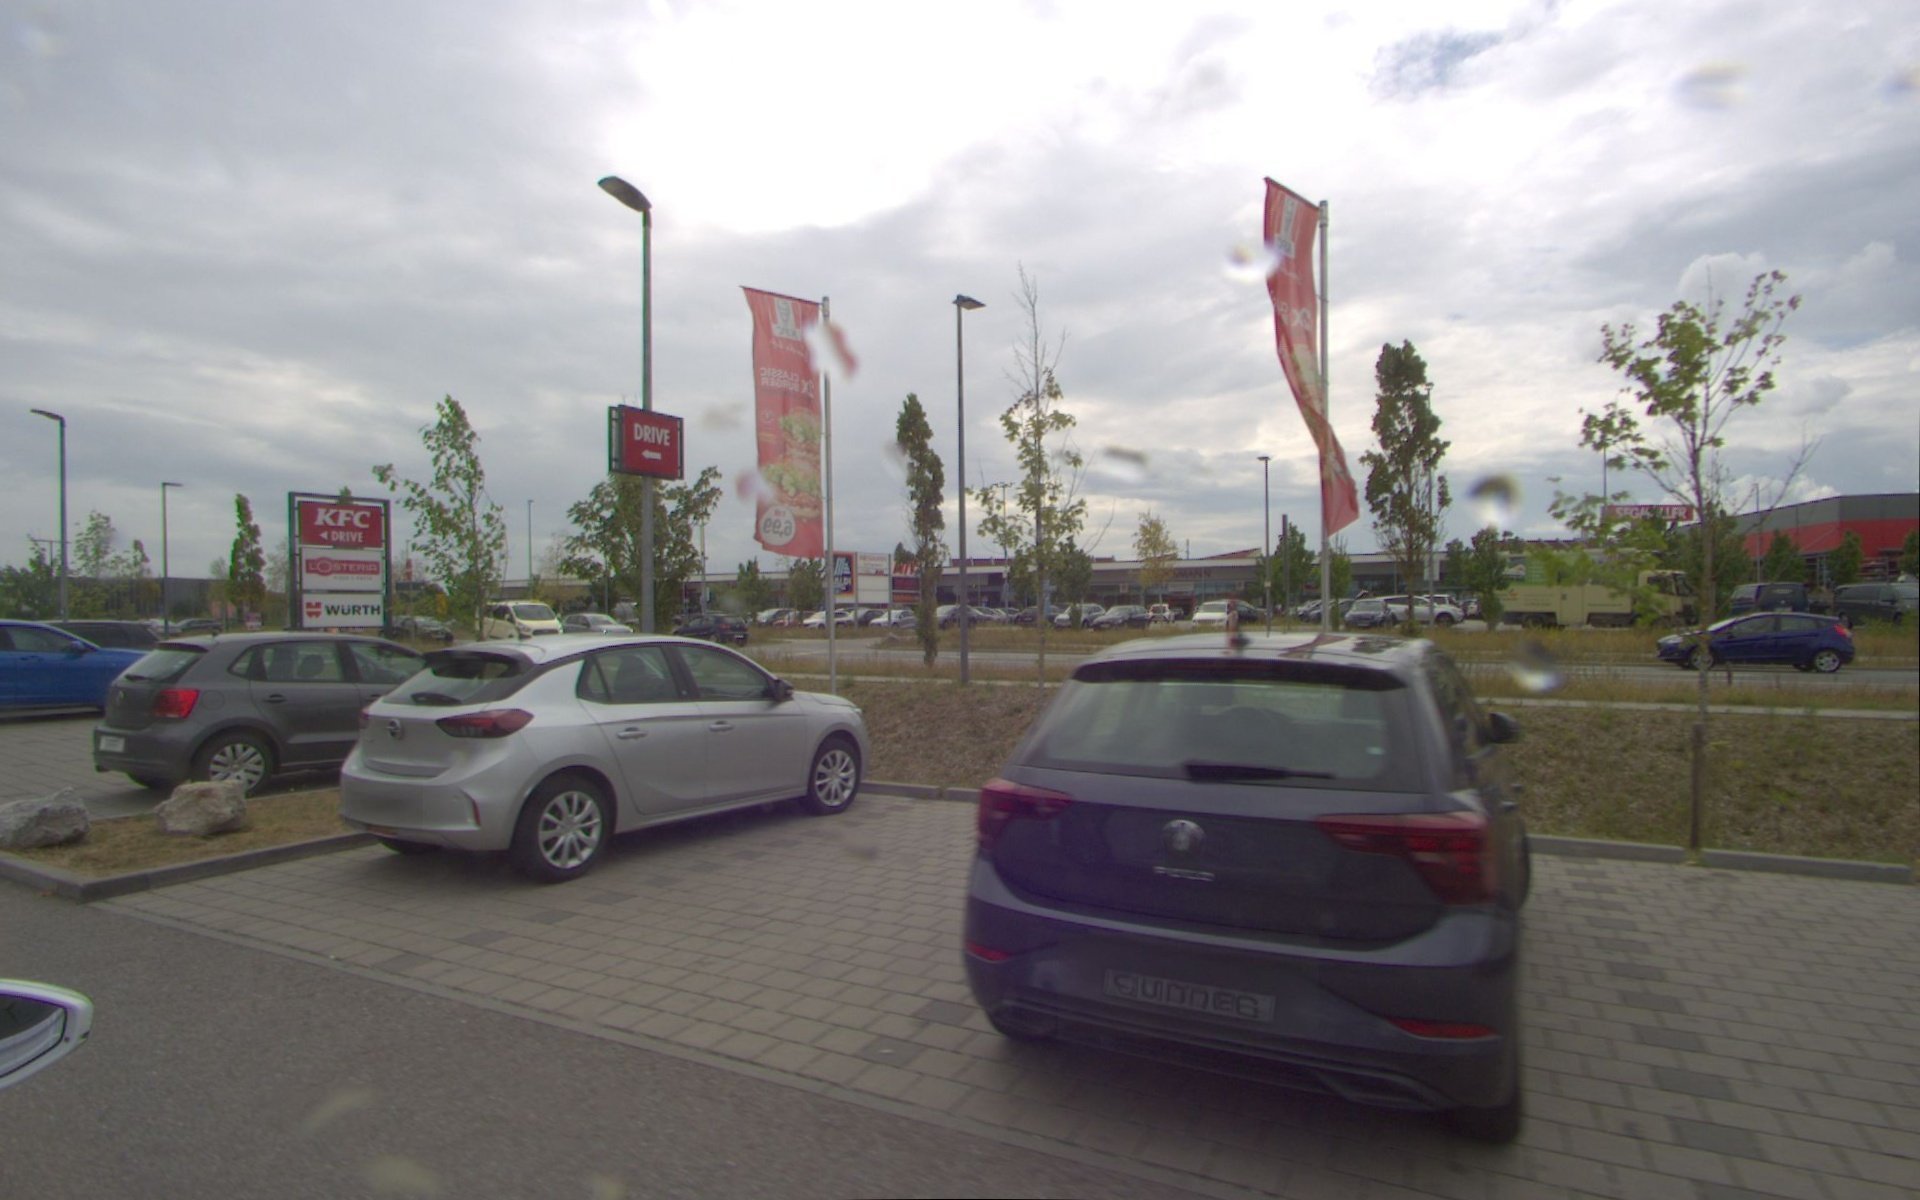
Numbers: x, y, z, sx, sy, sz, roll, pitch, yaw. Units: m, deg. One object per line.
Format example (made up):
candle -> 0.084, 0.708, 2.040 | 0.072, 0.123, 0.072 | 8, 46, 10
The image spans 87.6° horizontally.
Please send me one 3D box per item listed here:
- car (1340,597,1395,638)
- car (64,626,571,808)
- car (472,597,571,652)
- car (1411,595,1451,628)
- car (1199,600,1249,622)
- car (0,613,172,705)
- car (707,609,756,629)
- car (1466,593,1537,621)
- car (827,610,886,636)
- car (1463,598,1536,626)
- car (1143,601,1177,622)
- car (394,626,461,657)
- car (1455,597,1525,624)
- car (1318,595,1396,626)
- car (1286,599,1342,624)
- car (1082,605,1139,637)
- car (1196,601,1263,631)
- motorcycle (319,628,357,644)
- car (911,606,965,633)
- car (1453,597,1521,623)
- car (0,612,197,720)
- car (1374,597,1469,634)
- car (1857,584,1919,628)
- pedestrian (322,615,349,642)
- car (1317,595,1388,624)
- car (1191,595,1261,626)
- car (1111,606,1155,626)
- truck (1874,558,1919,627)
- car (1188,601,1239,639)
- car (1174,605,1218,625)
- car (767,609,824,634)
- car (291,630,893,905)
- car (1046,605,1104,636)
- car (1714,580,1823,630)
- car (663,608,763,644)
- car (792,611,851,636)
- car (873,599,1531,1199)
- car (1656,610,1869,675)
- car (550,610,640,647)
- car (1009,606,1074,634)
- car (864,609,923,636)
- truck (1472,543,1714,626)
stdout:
car -> 19.158, 0.774, 46.981 | 1.902, 1.795, 4.301 | -1, 1, 29
car -> -6.196, 1.014, 10.141 | 1.703, 1.446, 3.980 | -1, -2, 33
car -> -18.107, 0.966, 41.217 | 5.176, 2.114, 1.981 | 0, 0, 45
car -> 26.994, 0.631, 57.474 | 1.967, 1.795, 3.987 | -1, 1, 23
car -> 23.477, 0.991, 89.079 | 4.113, 1.862, 1.995 | -1, 1, 19
car -> -16.263, 0.986, 17.154 | 1.753, 1.479, 4.047 | 0, 0, 37
car -> -21.766, 1.812, 95.363 | 4.110, 1.862, 1.997 | -1, 1, 16
car -> 36.981, 0.457, 68.489 | 3.929, 1.795, 1.996 | -1, 1, 18
car -> -6.675, 1.473, 65.028 | 1.968, 1.560, 4.039 | -1, 1, 26
car -> 37.051, 0.801, 68.832 | 4.112, 1.862, 1.996 | -1, 1, 19
car -> 15.574, 0.865, 77.897 | 1.965, 1.560, 4.150 | -1, 1, 20
car -> -24.681, 1.918, 46.393 | 3.119, 1.354, 1.458 | -1, 0, 33
car -> 37.673, 0.771, 71.329 | 4.112, 1.862, 1.996 | -1, 1, 19
car -> 24.180, 0.612, 61.127 | 4.243, 1.795, 1.996 | -1, 1, 17
car -> 27.990, 0.897, 79.186 | 4.113, 1.862, 1.995 | -1, 1, 19
car -> 8.105, 1.100, 53.737 | 1.745, 1.560, 4.036 | -1, 1, 29
car -> 17.499, 1.046, 65.013 | 4.113, 1.862, 1.995 | -1, 1, 19
motorcycle -> -31.391, 1.819, 50.507 | 1.998, 0.783, 0.812 | -2, 0, 32
car -> -1.306, 1.169, 61.317 | 1.744, 1.560, 3.749 | -1, 1, 26
car -> 38.732, 0.735, 73.712 | 4.112, 1.862, 1.996 | -1, 1, 19
car -> -14.413, 0.964, 15.186 | 1.840, 1.564, 4.190 | 0, -1, 35
car -> 23.286, 0.774, 50.552 | 4.254, 1.795, 1.913 | -1, 1, 28
car -> 37.093, 0.200, 38.364 | 2.040, 1.661, 5.061 | 0, 1, 16
pedestrian -> -31.541, 1.433, 50.557 | 0.886, 1.298, 0.802 | -2, 0, 31
car -> 25.886, 0.614, 66.234 | 4.244, 1.795, 1.996 | -1, 1, 18
car -> 16.621, 0.643, 62.605 | 4.113, 1.862, 1.995 | -1, 1, 19
car -> 17.476, 1.619, 100.906 | 4.113, 1.862, 1.995 | -1, 1, 19
truck -> 54.298, -0.420, 54.950 | 2.608, 3.793, 8.244 | -1, 1, 15
car -> 12.999, 0.984, 51.175 | 1.966, 1.795, 4.309 | -1, 1, 21
car -> 23.512, 1.513, 99.620 | 4.113, 1.862, 1.995 | -1, 1, 19
car -> -11.257, 1.484, 68.853 | 1.877, 1.560, 4.039 | -1, 1, 26
car -> -2.342, 0.969, 7.389 | 1.812, 1.430, 3.923 | -1, -3, 30
car -> 6.397, 1.121, 55.349 | 1.745, 1.560, 4.036 | -1, 1, 29
car -> 32.748, 0.244, 40.731 | 2.042, 1.909, 5.058 | 0, -1, 22
car -> -11.142, 1.172, 45.144 | 4.359, 1.506, 1.919 | -1, 1, 34
car -> -9.262, 1.558, 67.219 | 1.837, 1.521, 4.053 | -1, 1, 30
car -> 1.426, 0.805, 4.272 | 1.713, 1.430, 3.792 | -1, -3, 30
car -> 19.833, 1.035, 24.970 | 3.858, 1.479, 1.654 | -1, 1, 27
car -> -16.014, 1.229, 43.875 | 3.948, 1.479, 1.818 | -1, 1, 36
car -> 4.993, 1.179, 61.189 | 1.976, 1.560, 4.128 | 0, 1, 39
car -> -4.199, 1.436, 63.470 | 1.968, 1.560, 4.039 | -1, 1, 26
truck -> 27.065, -0.600, 43.302 | 2.990, 3.239, 8.373 | -2, 1, -35
